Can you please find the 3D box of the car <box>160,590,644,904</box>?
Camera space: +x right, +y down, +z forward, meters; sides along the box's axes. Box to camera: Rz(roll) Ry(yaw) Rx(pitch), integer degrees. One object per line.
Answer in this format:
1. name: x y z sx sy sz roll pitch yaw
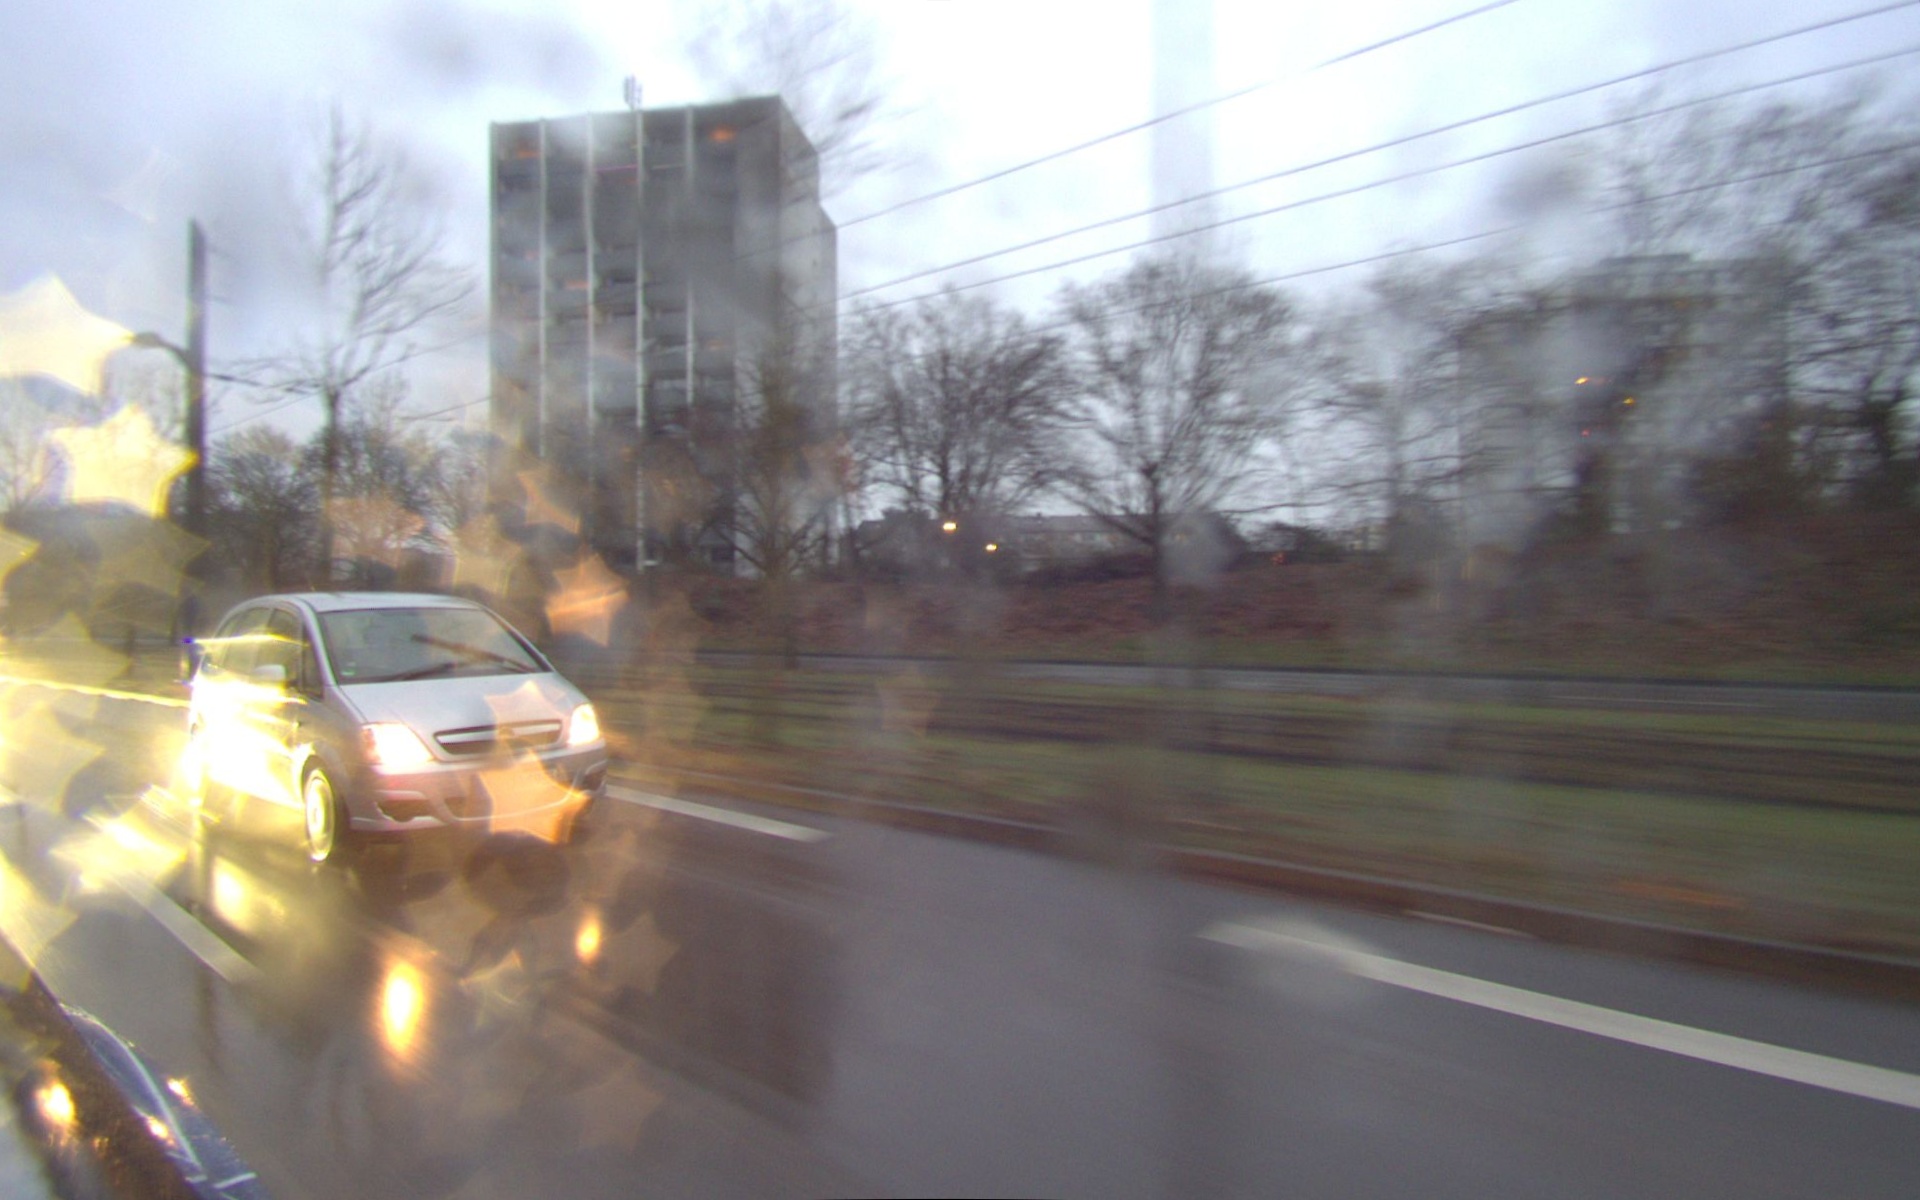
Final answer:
1. car: -4.049 0.775 7.070 3.919 1.587 1.648 -1 0 40
